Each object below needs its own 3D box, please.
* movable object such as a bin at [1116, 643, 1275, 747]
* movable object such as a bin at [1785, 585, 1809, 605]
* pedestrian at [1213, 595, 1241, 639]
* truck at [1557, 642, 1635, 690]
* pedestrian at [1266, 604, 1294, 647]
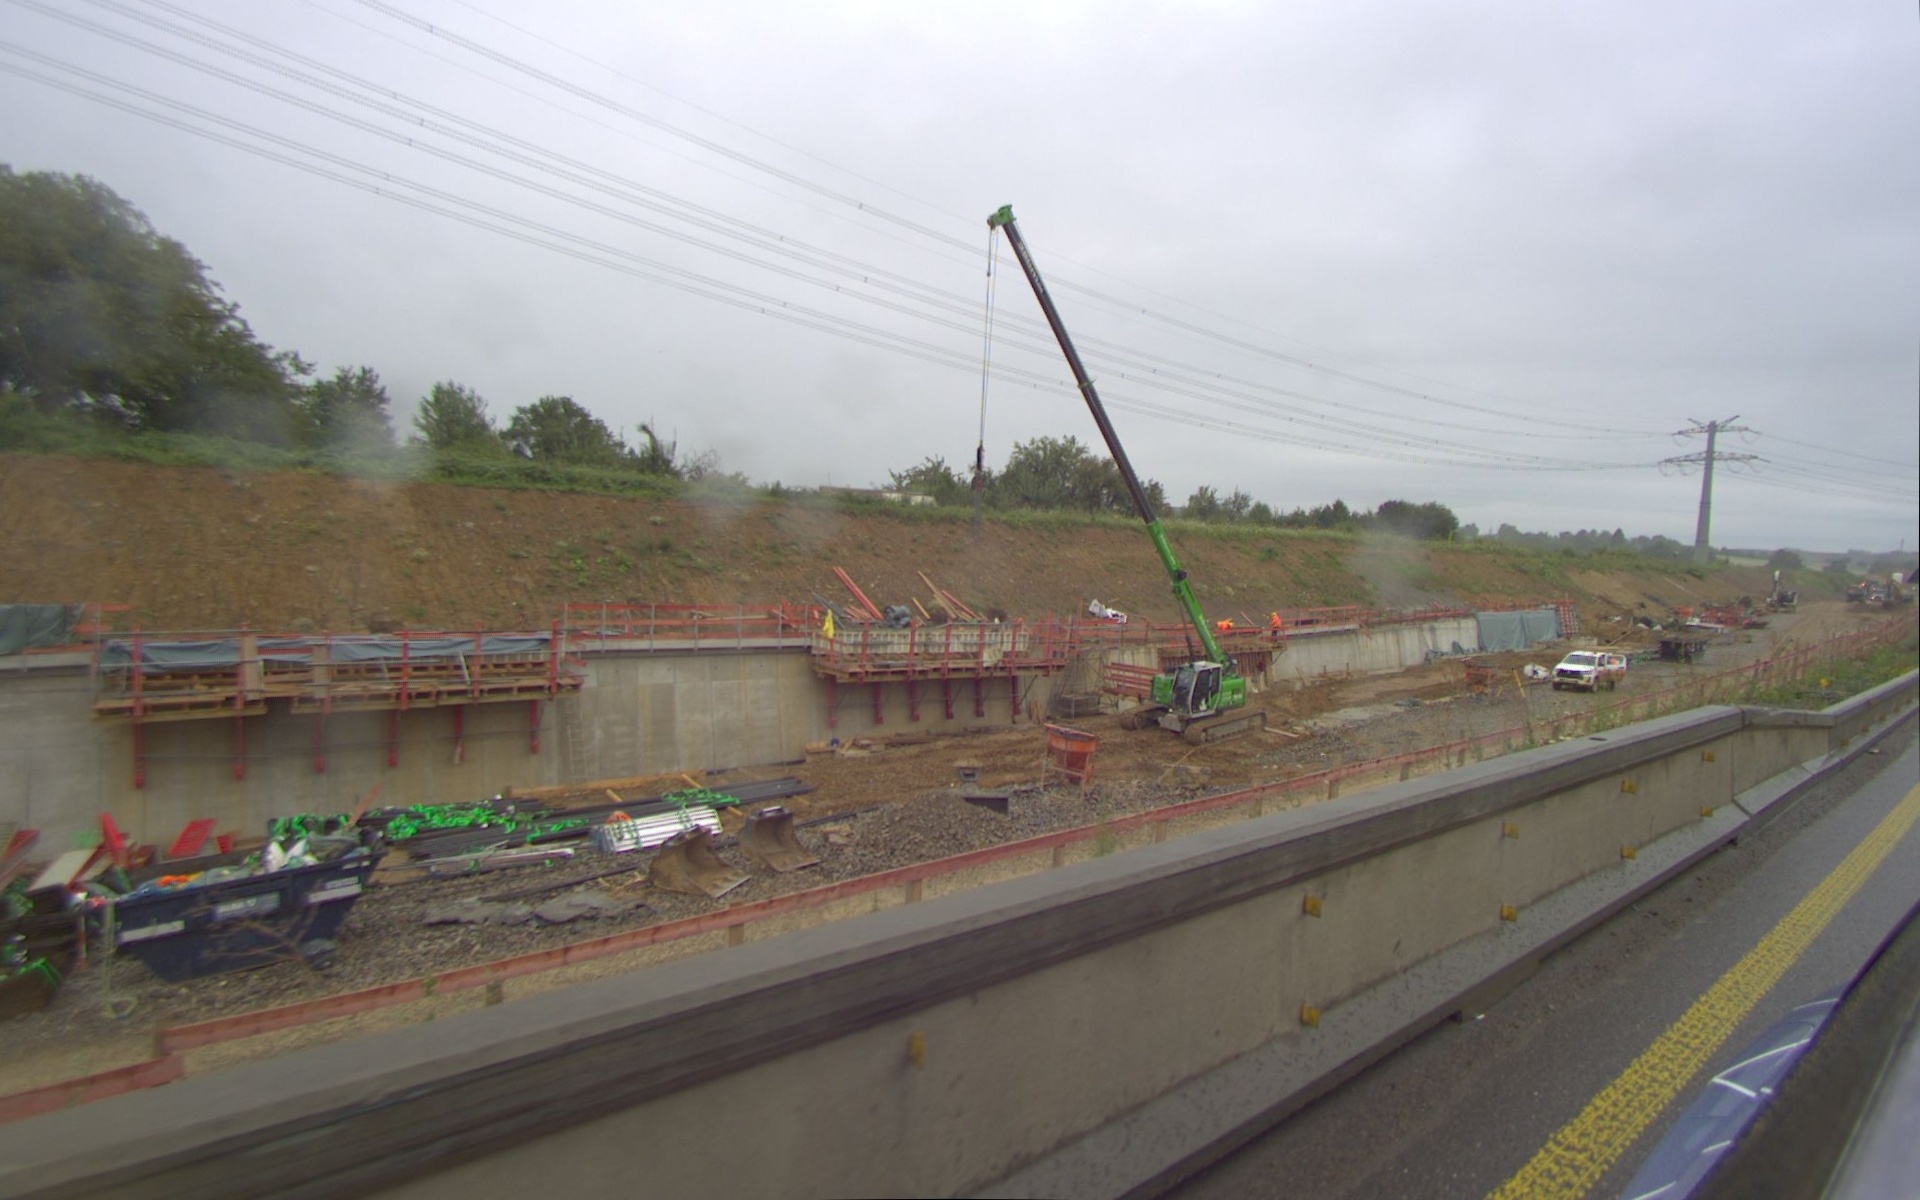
[{"bbox_3d":[8.945,3.443,38.321,4.777,2.836,3.798,-7,6,-42],"label":"movable object such as a bin"},{"bbox_3d":[116.257,-0.696,140.559,2.247,2.753,3.936,0,1,45],"label":"movable object such as a bin"},{"bbox_3d":[14.325,0.927,54.333,0.915,2.275,0.990,-6,-3,45],"label":"pedestrian"},{"bbox_3d":[31.638,3.210,50.260,5.687,1.894,1.765,-1,3,-42],"label":"truck"},{"bbox_3d":[17.466,1.391,55.166,0.988,2.260,0.917,-2,-3,-38],"label":"pedestrian"}]
